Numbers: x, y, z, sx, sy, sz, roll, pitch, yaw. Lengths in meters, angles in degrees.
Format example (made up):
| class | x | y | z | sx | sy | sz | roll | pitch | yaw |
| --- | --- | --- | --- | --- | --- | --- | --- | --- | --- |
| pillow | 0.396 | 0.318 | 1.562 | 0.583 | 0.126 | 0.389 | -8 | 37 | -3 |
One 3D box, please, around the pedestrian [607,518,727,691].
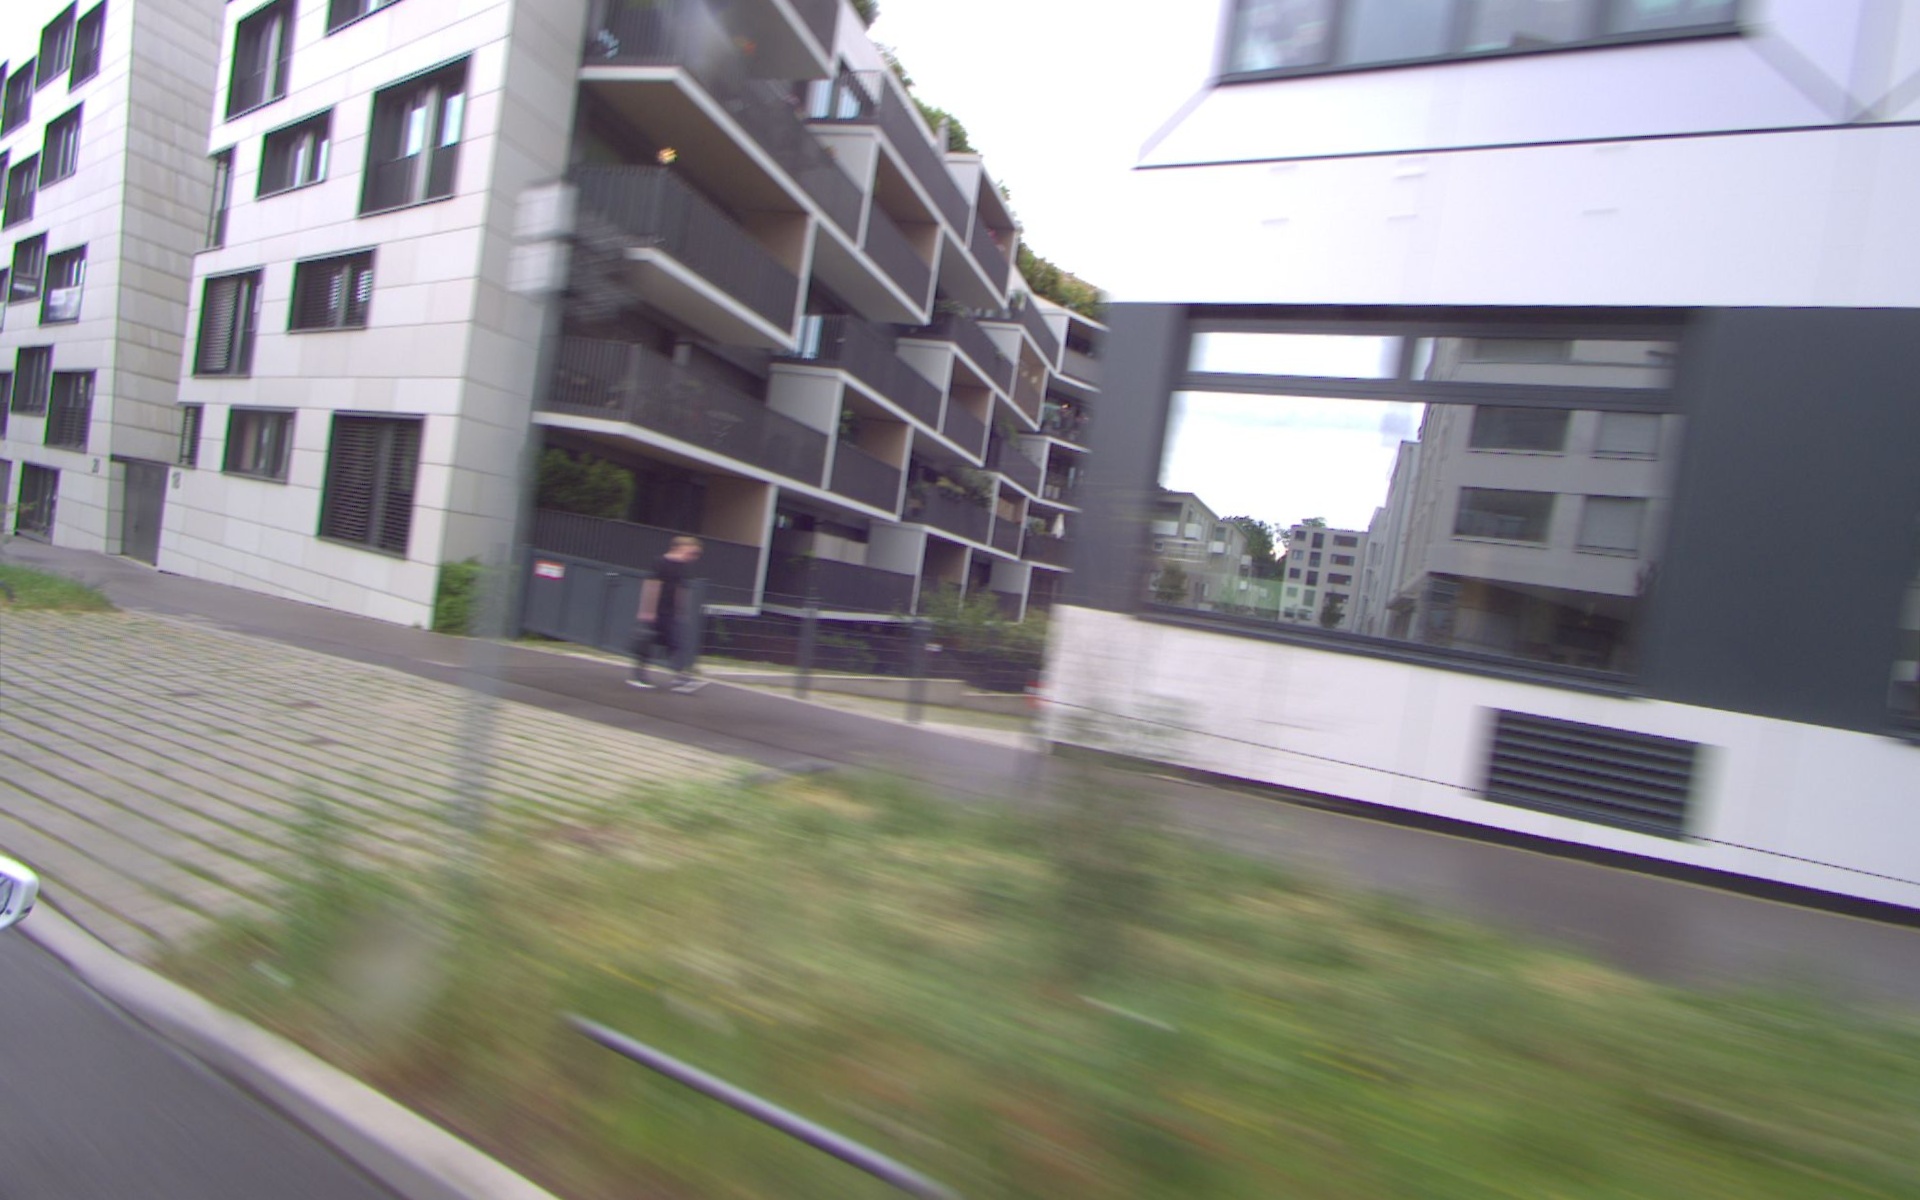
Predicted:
| class | x | y | z | sx | sy | sz | roll | pitch | yaw |
| --- | --- | --- | --- | --- | --- | --- | --- | --- | --- |
| pedestrian | -3.258 | 0.061 | 11.210 | 0.765 | 1.818 | 0.823 | 6 | 0 | 32 |
